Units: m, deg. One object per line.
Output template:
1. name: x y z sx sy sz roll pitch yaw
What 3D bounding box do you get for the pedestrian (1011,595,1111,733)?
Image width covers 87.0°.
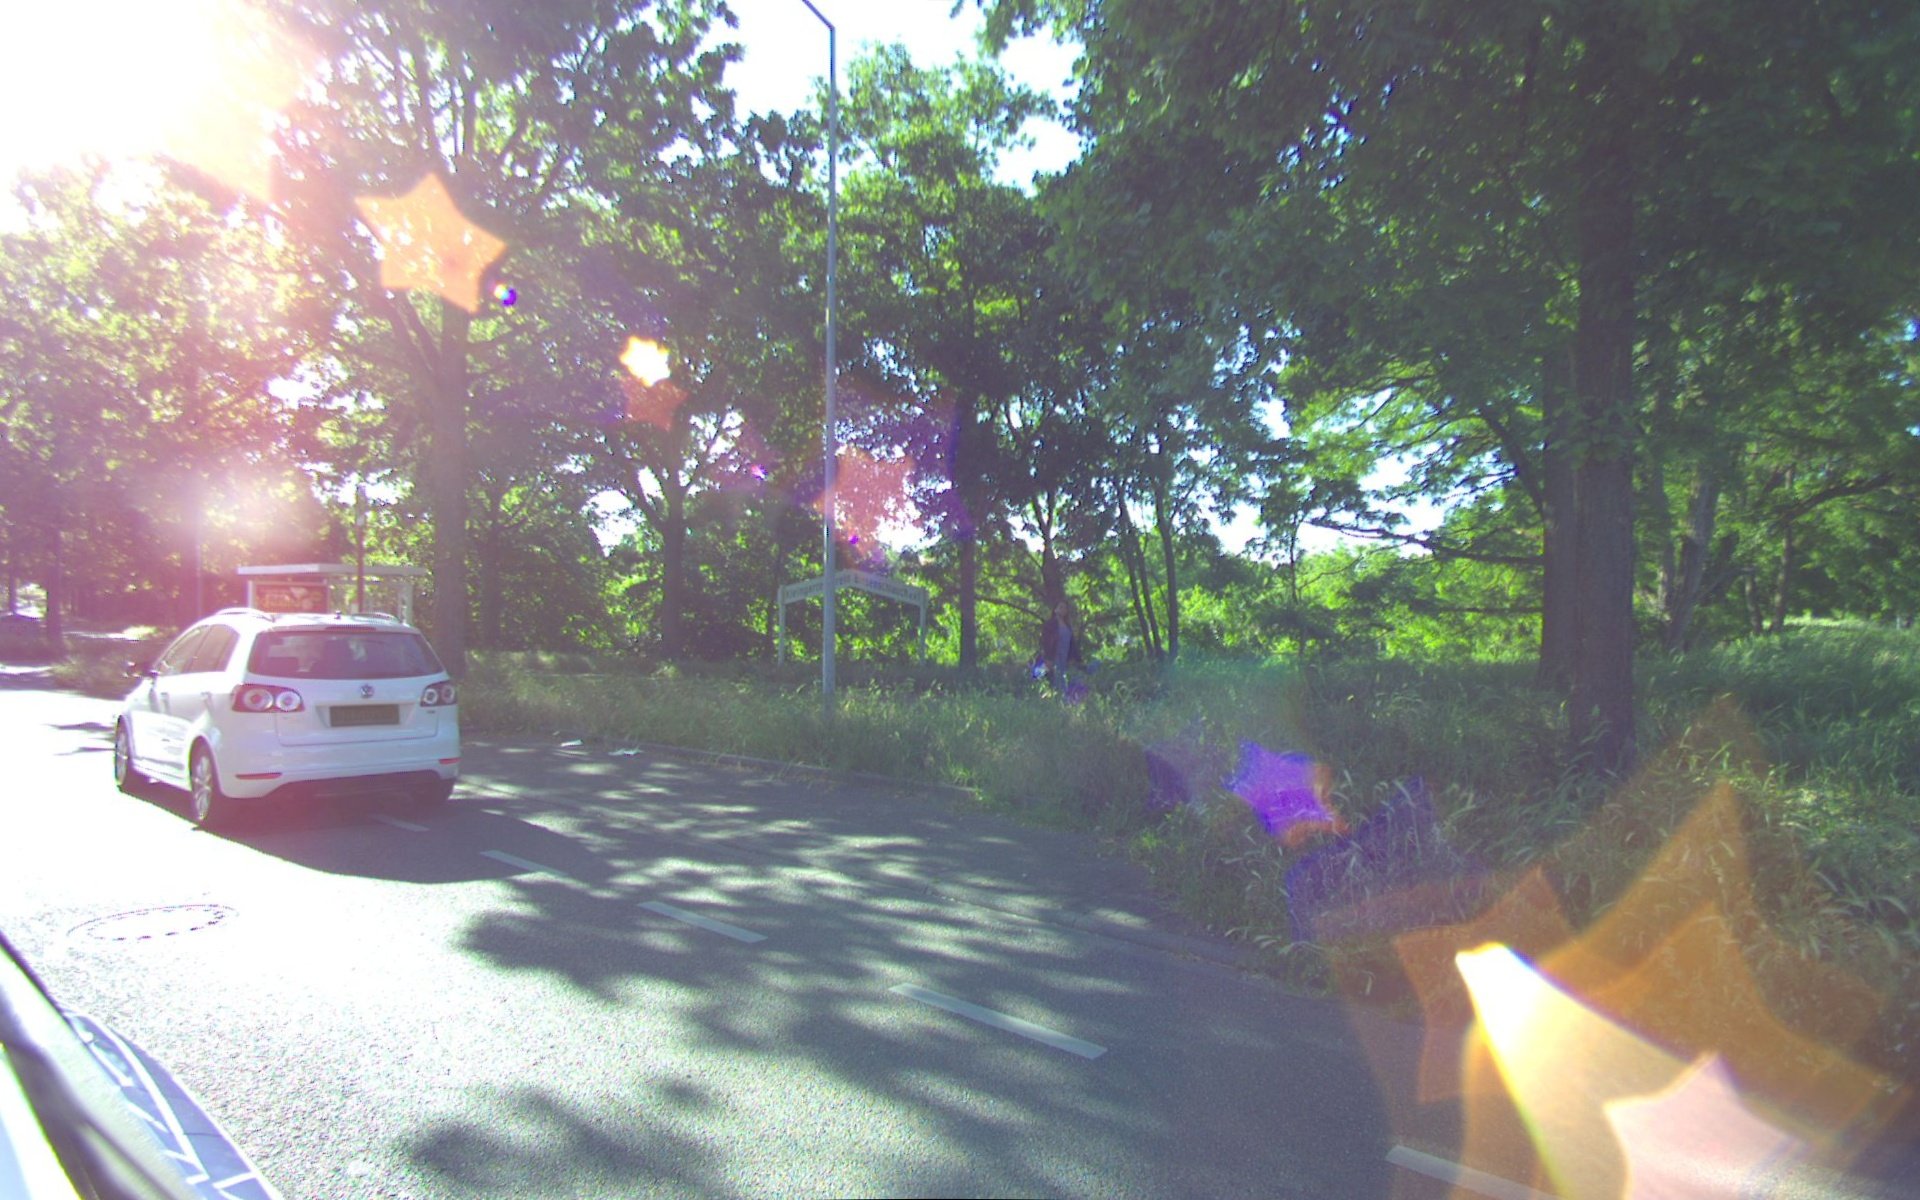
1. pedestrian: 1.310 0.794 13.106 0.891 1.701 0.903 -2 -1 42

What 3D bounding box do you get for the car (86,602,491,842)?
1. car: -5.874 0.877 8.667 4.116 1.575 1.734 -1 -3 40
